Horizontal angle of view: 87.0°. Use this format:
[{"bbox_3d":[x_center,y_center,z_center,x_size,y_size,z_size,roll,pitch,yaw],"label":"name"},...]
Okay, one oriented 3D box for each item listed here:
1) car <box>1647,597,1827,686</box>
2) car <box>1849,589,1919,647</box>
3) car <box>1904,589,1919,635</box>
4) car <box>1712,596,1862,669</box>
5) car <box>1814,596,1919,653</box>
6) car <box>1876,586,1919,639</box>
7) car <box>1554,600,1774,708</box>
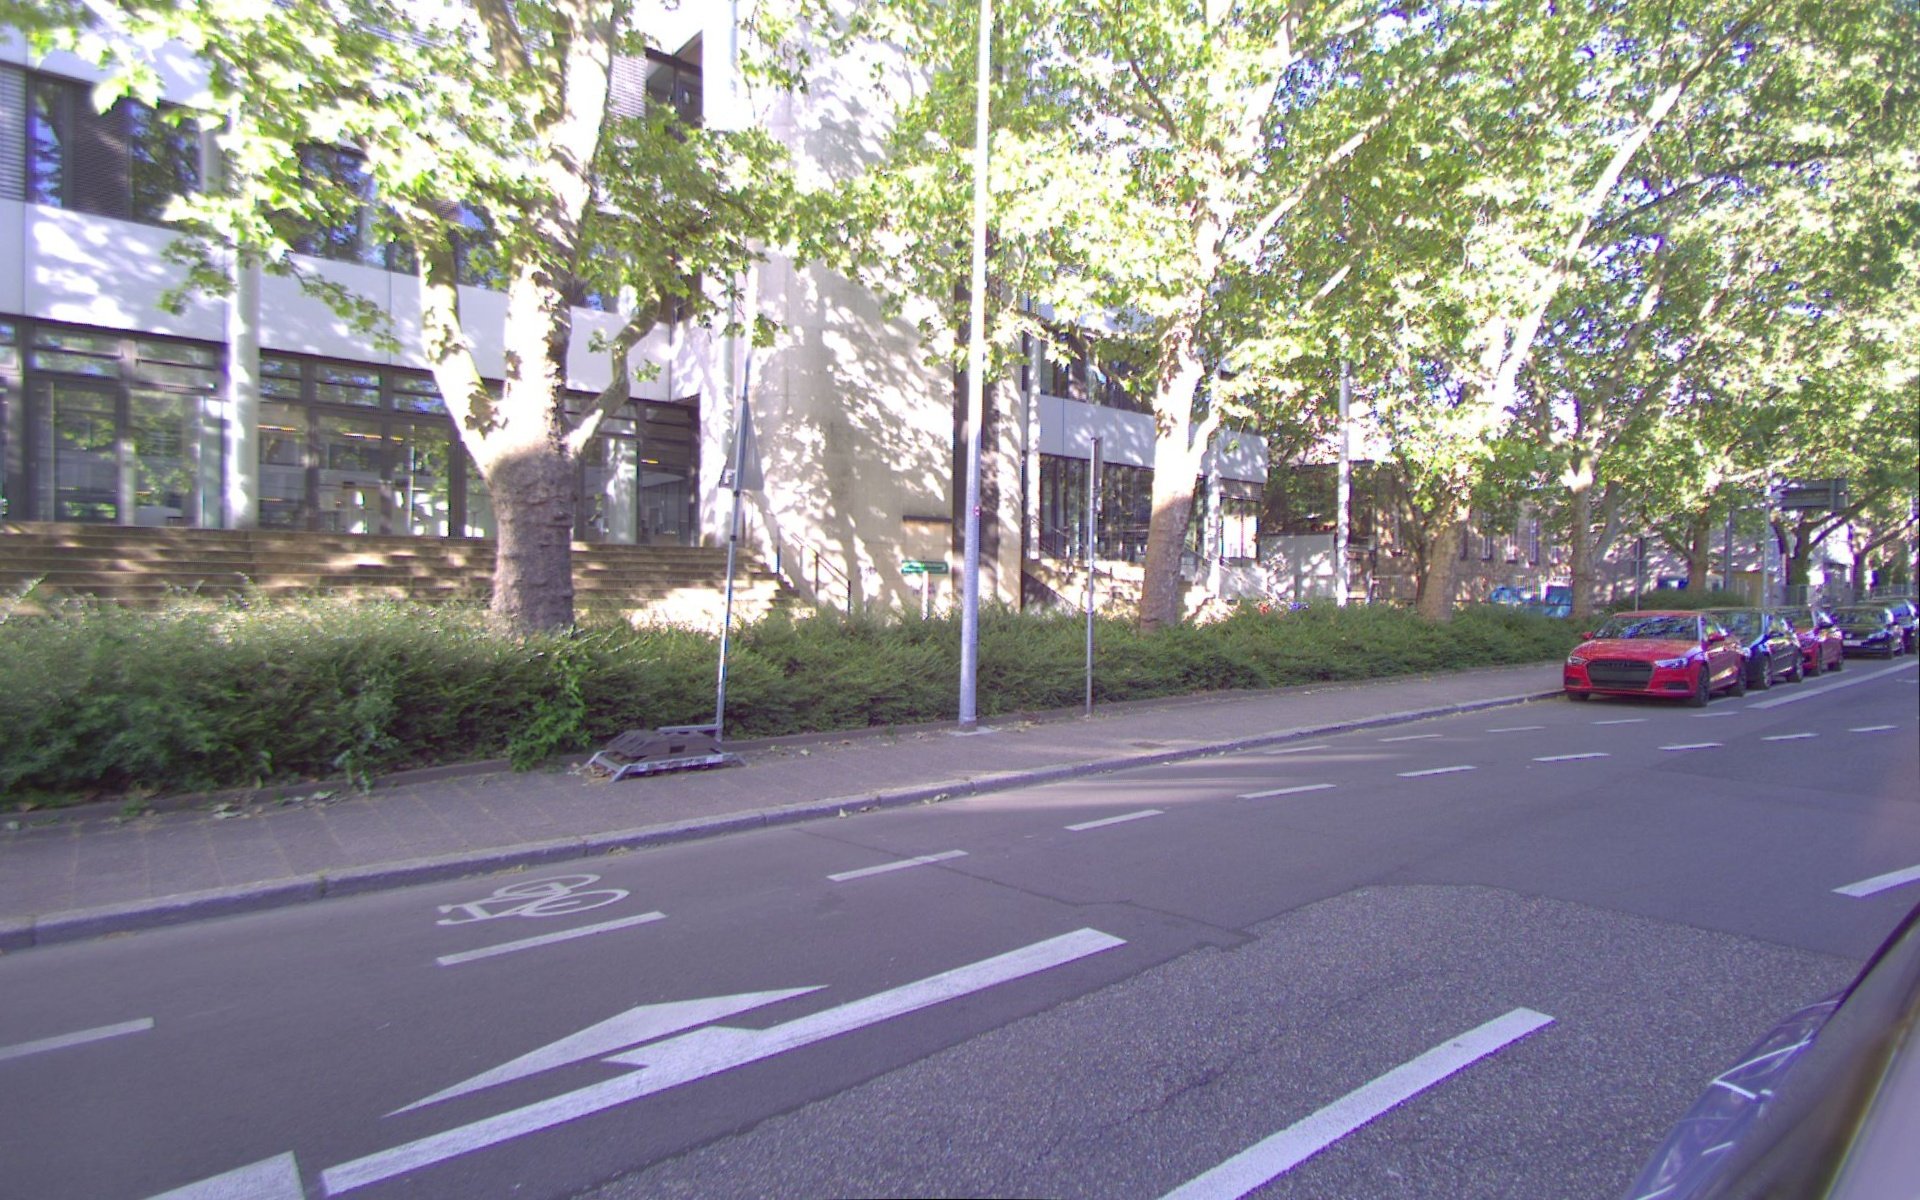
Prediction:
[{"bbox_3d":[14.764,0.697,19.146,4.403,1.469,1.865,0,0,-41],"label":"car"},{"bbox_3d":[29.567,0.518,31.813,4.403,1.689,1.865,0,0,-41],"label":"car"},{"bbox_3d":[38.871,0.448,39.973,4.403,1.781,1.865,0,0,-41],"label":"car"},{"bbox_3d":[18.431,0.641,22.484,4.403,1.469,1.865,0,0,-41],"label":"car"},{"bbox_3d":[25.787,0.625,28.618,4.403,1.469,1.865,0,0,-41],"label":"car"},{"bbox_3d":[33.905,0.399,35.703,4.403,1.781,1.865,0,0,-41],"label":"car"},{"bbox_3d":[11.316,0.743,16.146,4.403,1.469,1.865,0,0,-41],"label":"car"}]
